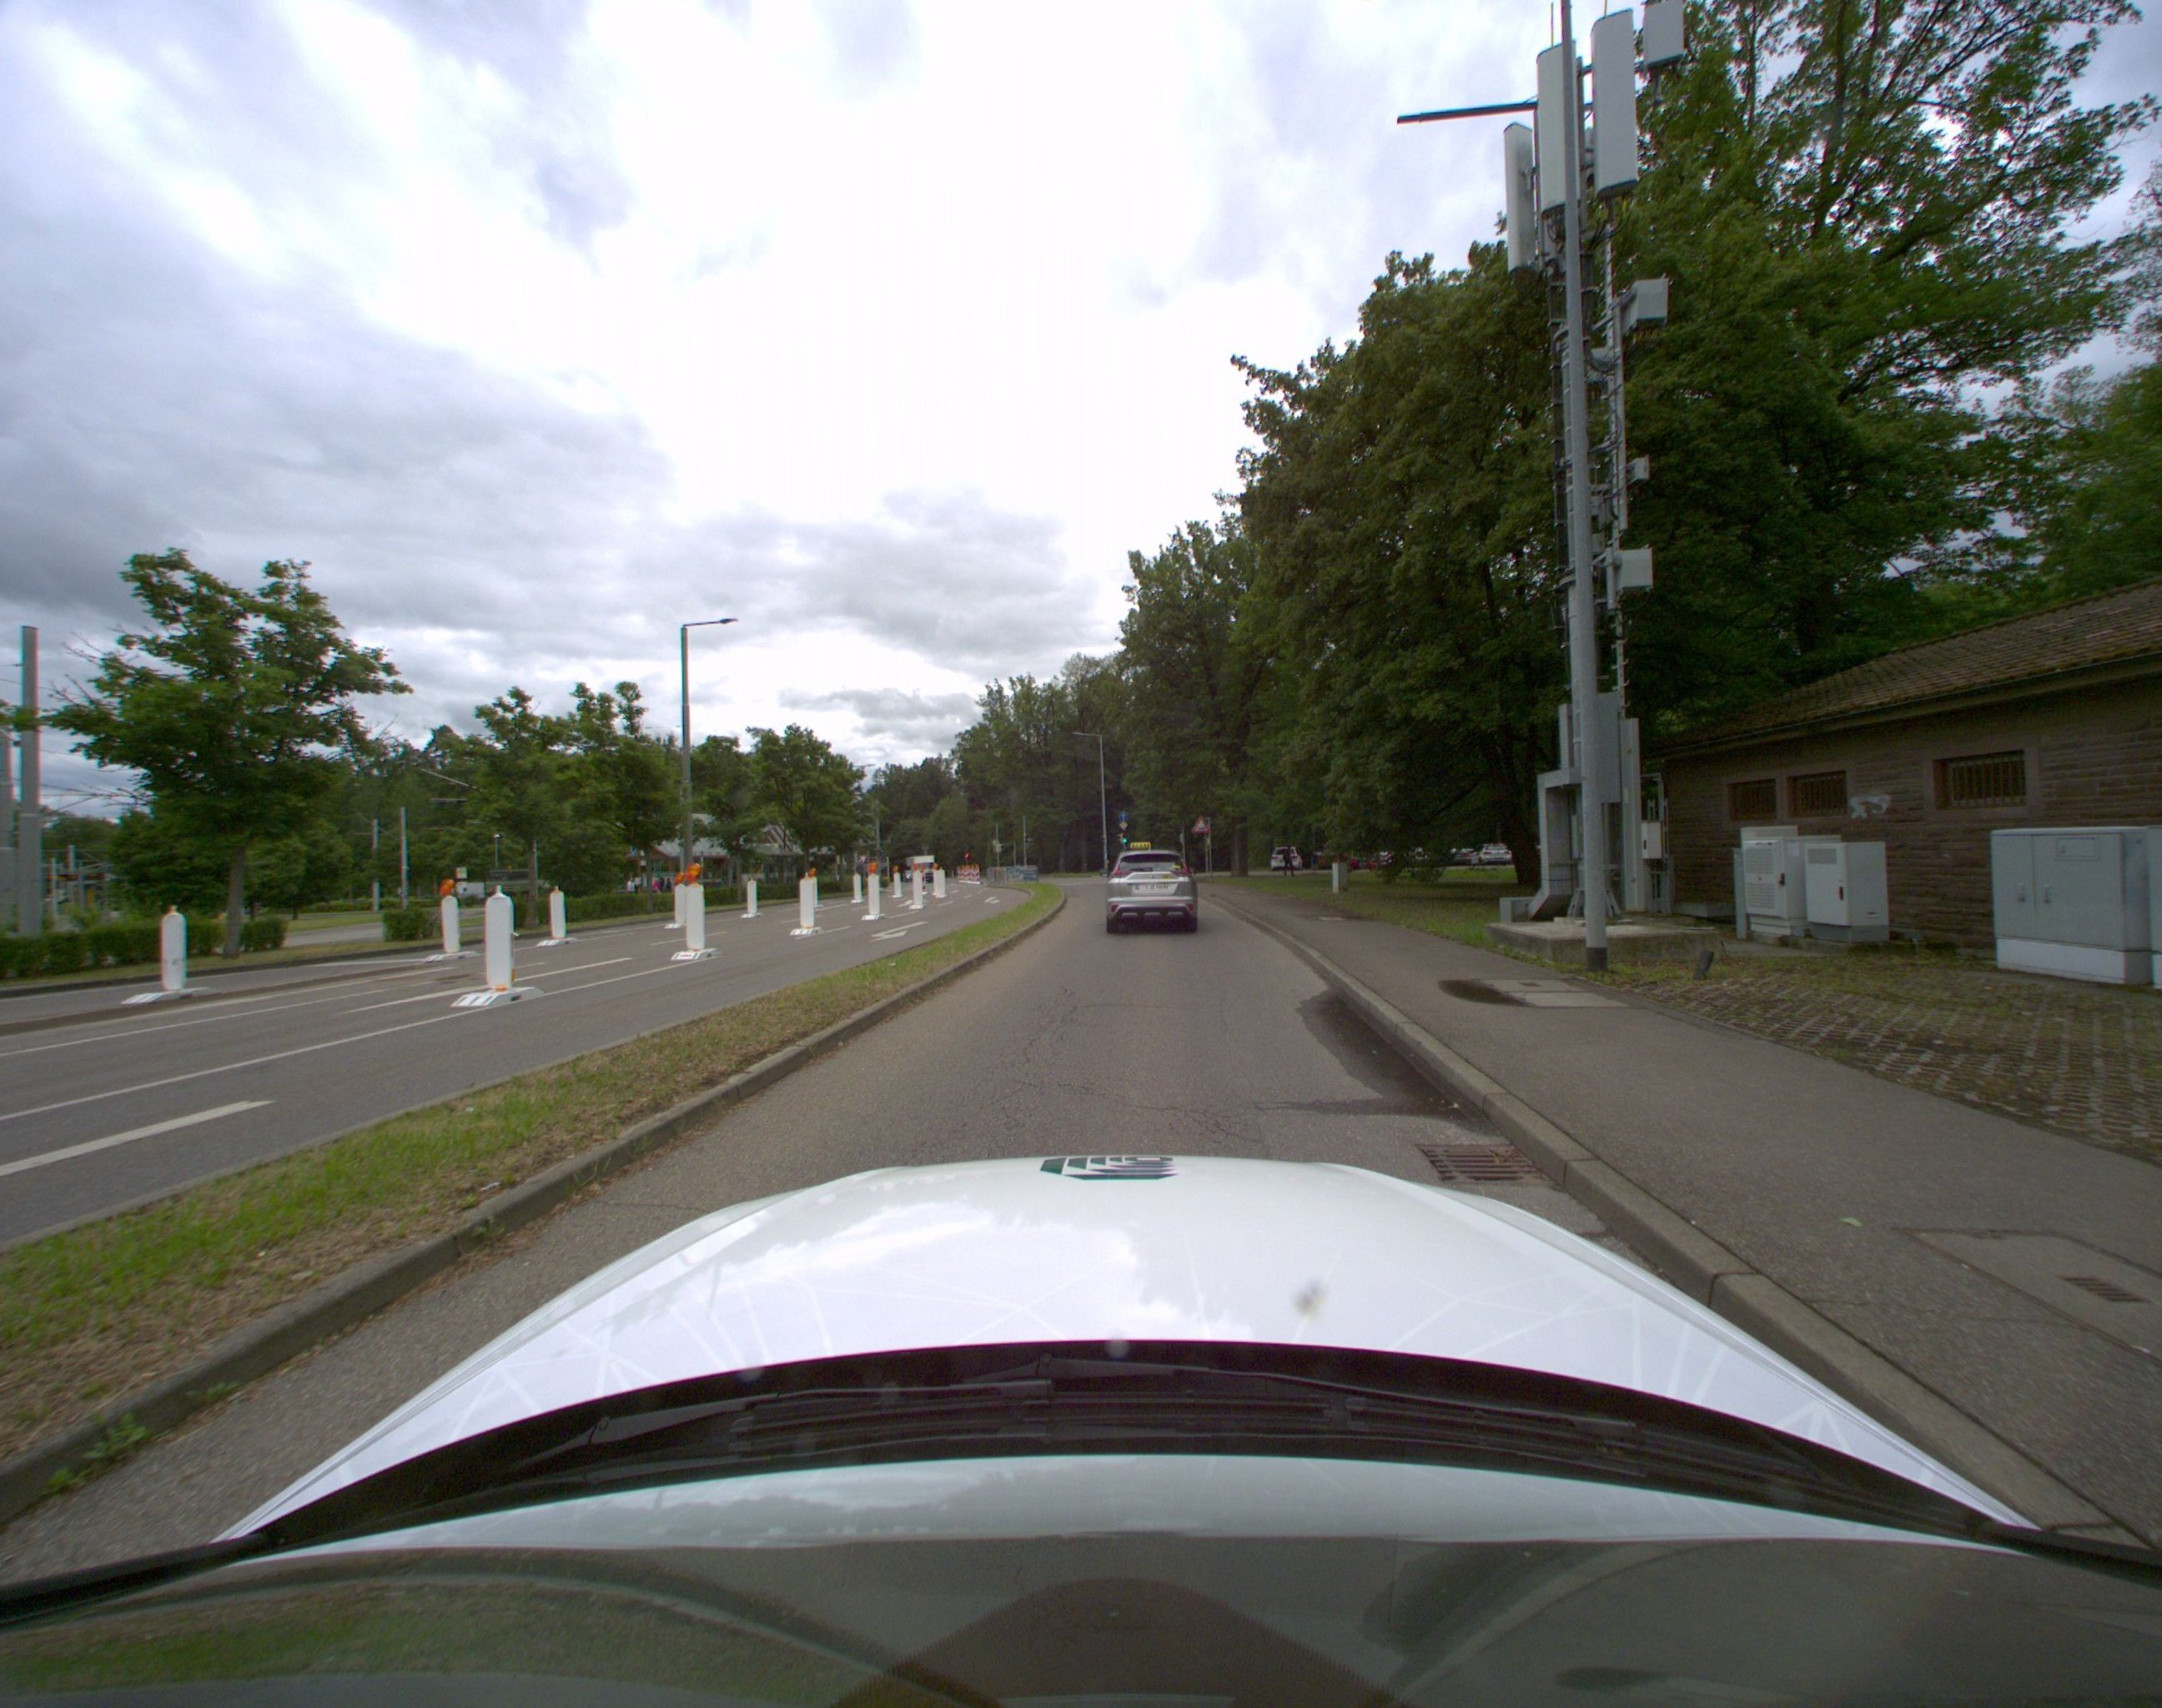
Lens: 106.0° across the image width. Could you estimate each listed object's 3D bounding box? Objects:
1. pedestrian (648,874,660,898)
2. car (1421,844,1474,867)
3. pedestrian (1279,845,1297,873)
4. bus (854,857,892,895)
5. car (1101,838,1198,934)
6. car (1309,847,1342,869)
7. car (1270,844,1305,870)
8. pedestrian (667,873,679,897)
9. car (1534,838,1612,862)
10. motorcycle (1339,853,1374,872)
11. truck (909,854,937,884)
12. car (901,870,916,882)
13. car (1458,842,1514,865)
[{"bbox_3d":[-28.865,2.173,55.007,0.554,1.625,0.495,-2,0,39],"label":"pedestrian"},{"bbox_3d":[23.166,0.093,51.546,1.551,1.326,3.824,-2,0,-1],"label":"car"},{"bbox_3d":[11.422,0.278,44.944,0.834,1.506,0.794,-2,0,18],"label":"pedestrian"},{"bbox_3d":[-21.747,2.193,84.519,2.830,3.603,12.722,-2,0,-19],"label":"bus"},{"bbox_3d":[1.509,0.642,17.063,1.764,1.748,3.788,-1,-1,7],"label":"car"},{"bbox_3d":[15.836,0.223,52.599,1.819,1.326,4.020,-2,0,19],"label":"car"},{"bbox_3d":[13.534,0.164,53.319,1.819,1.536,4.020,-2,0,19],"label":"car"},{"bbox_3d":[-28.037,2.156,56.002,0.554,1.625,0.495,-2,0,39],"label":"pedestrian"},{"bbox_3d":[29.942,-0.249,49.581,3.803,1.326,1.560,-2,0,-2],"label":"car"},{"bbox_3d":[15.911,0.504,47.069,1.814,1.057,0.617,-2,0,13],"label":"motorcycle"},{"bbox_3d":[-18.683,1.767,95.961,2.489,3.286,8.473,-3,-1,-16],"label":"truck"},{"bbox_3d":[-22.709,2.878,107.246,1.560,1.528,3.803,-2,0,-17],"label":"car"},{"bbox_3d":[25.376,-0.020,51.171,1.551,1.326,3.824,-2,0,-1],"label":"car"}]
